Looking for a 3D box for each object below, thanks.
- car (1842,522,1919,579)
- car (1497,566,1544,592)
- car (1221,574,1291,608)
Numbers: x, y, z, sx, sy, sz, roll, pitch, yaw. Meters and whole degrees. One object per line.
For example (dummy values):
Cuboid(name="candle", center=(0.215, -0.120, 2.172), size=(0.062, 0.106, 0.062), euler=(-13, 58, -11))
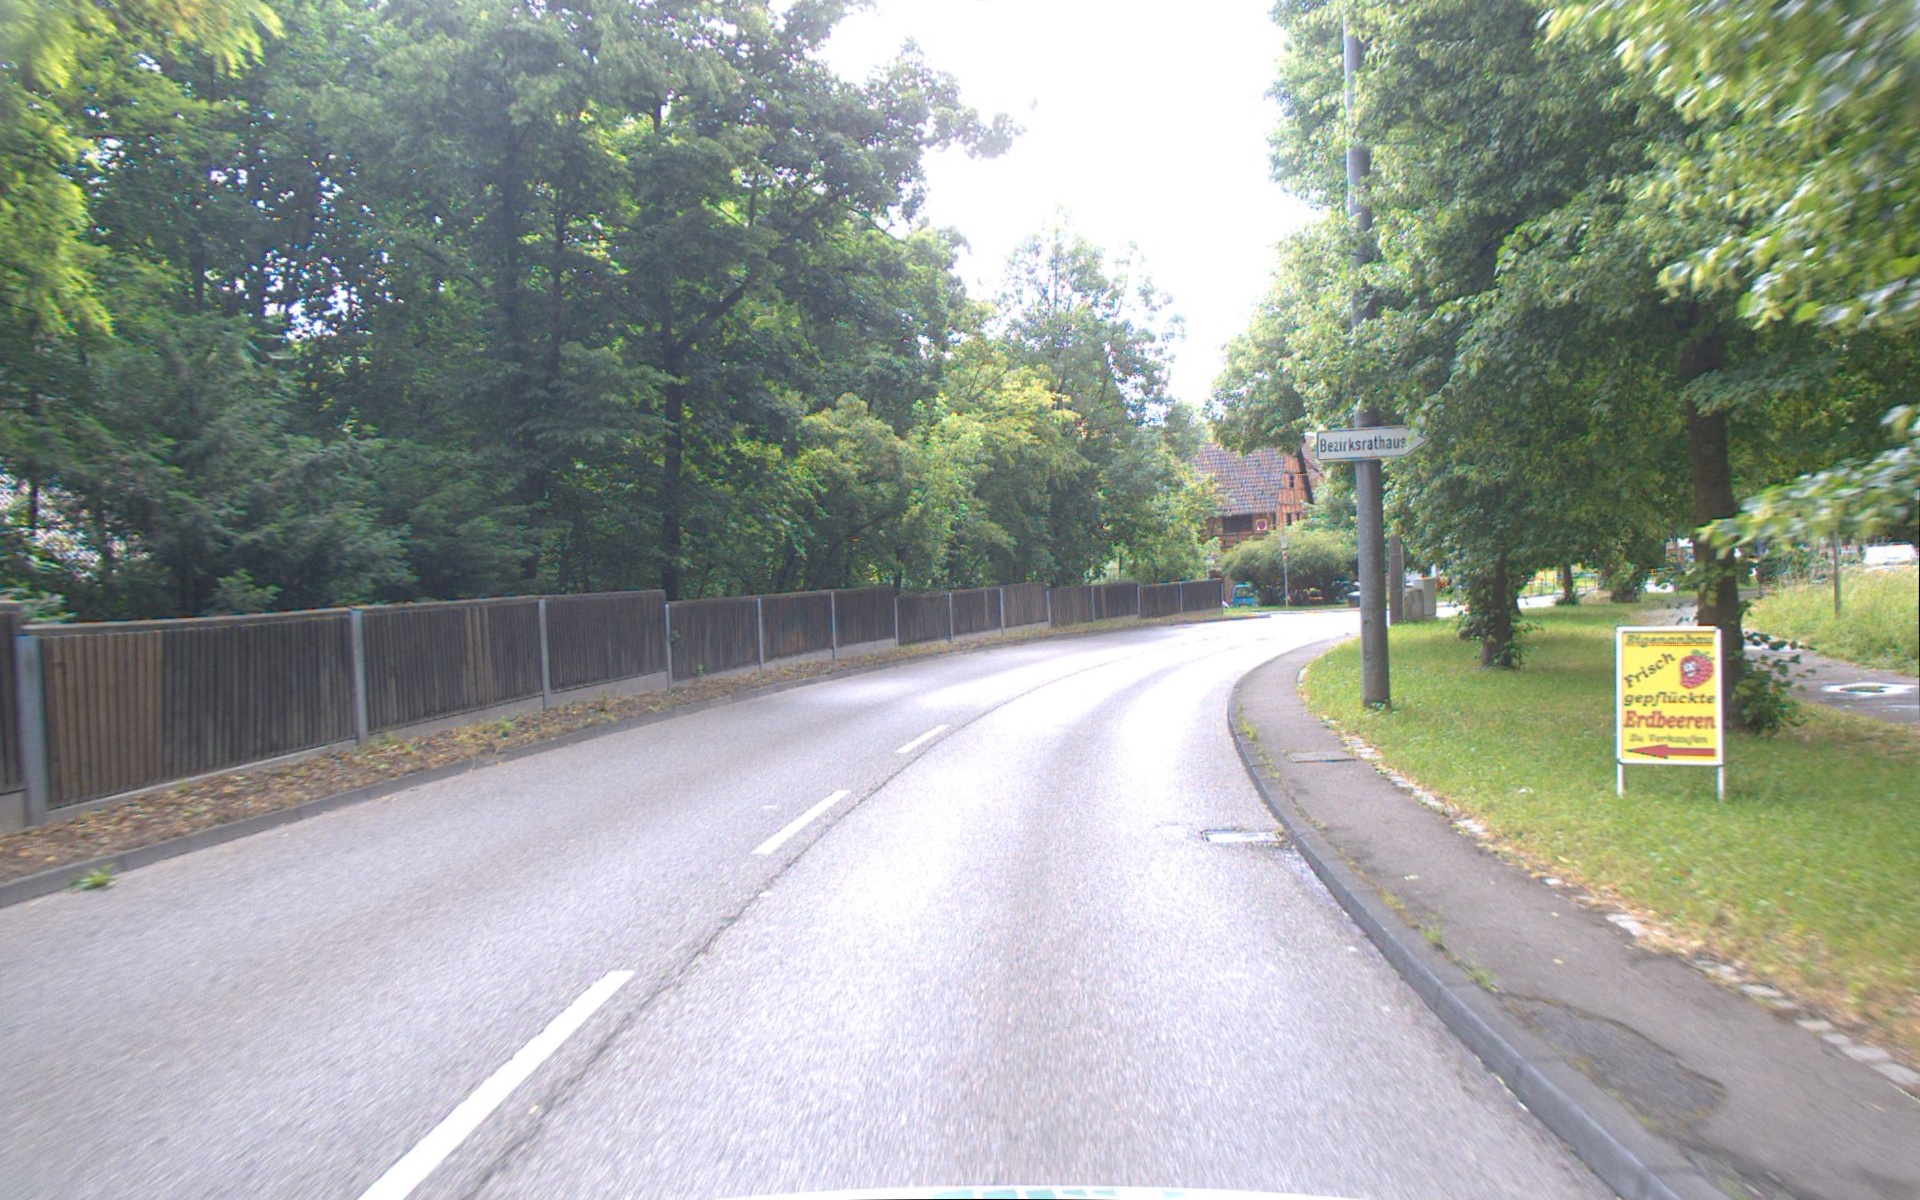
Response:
Cuboid(name="car", center=(29.145, -1.595, 52.227), size=(1.872, 1.455, 4.456), euler=(-4, 2, 33))
Cuboid(name="car", center=(41.302, -1.546, 121.904), size=(1.891, 1.724, 3.980), euler=(-4, -1, 40))
Cuboid(name="car", center=(16.056, -0.499, 89.630), size=(1.960, 1.646, 4.431), euler=(-4, -1, 36))
